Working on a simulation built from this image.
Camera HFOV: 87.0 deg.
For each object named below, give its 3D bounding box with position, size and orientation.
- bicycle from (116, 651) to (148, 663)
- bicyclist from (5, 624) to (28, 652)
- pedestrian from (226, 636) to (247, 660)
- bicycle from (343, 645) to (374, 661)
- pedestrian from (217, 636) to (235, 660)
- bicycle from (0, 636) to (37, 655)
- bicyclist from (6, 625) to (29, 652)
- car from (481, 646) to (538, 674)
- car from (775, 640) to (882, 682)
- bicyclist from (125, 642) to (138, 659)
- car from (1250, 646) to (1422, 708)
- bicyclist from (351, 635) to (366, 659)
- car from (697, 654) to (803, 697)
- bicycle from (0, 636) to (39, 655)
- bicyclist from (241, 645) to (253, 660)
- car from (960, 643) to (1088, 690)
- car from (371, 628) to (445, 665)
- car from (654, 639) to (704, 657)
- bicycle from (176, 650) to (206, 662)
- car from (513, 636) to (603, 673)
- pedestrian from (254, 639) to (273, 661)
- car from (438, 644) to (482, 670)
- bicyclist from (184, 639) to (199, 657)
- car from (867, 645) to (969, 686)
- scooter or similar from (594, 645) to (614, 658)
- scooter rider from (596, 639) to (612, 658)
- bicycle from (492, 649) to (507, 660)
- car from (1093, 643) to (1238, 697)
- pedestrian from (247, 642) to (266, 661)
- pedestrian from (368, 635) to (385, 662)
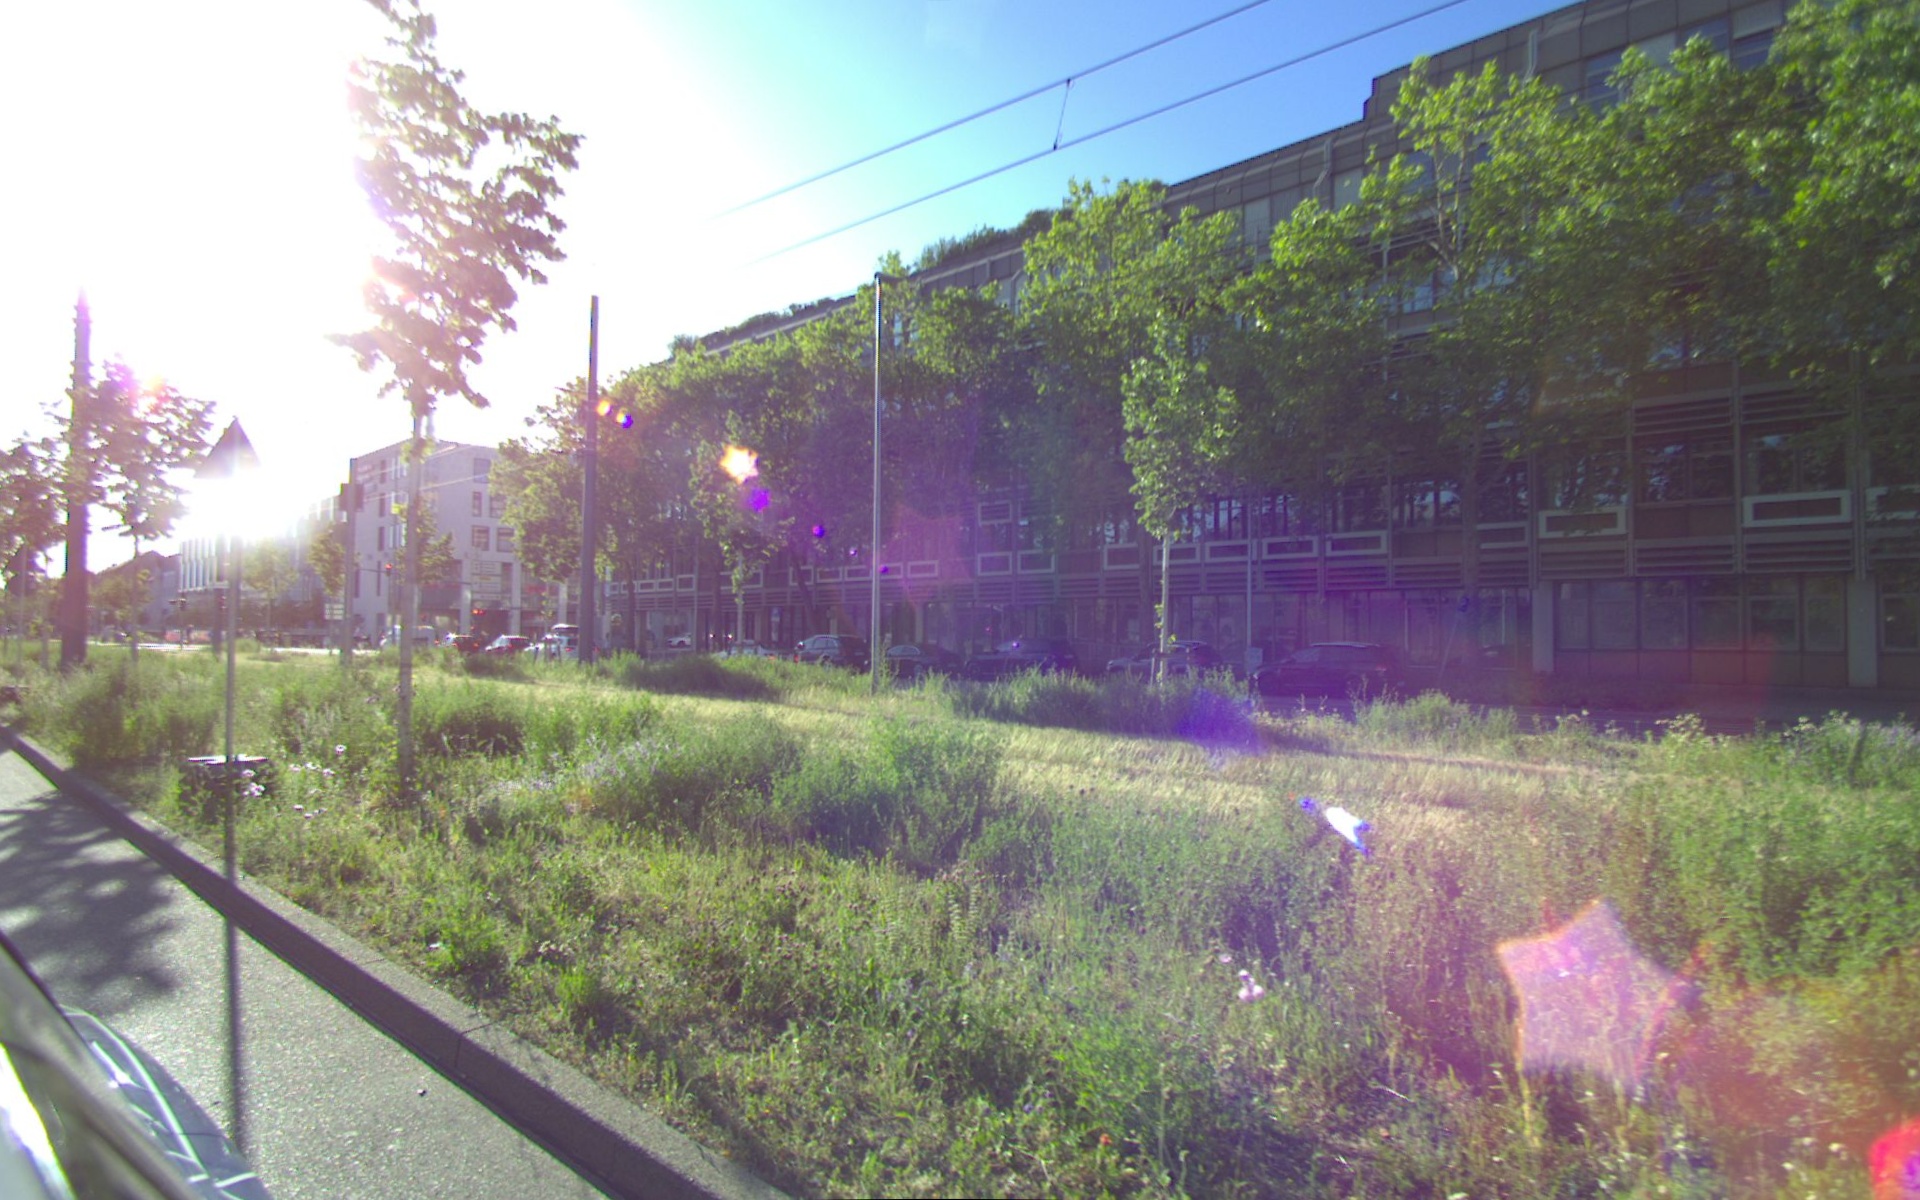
[{"bbox_3d":[-69.373,4.757,84.766,2.044,0.986,0.807,1,-2,-40],"label":"bicycle"},{"bbox_3d":[-55.707,2.245,59.777,0.625,1.587,0.883,-2,-3,39],"label":"bicyclist"},{"bbox_3d":[-64.633,4.278,90.434,1.055,2.145,1.091,0,-3,19],"label":"pedestrian"},{"bbox_3d":[-43.027,3.778,72.371,1.774,1.102,0.709,3,-4,-45],"label":"bicycle"},{"bbox_3d":[-66.219,4.326,91.333,0.889,2.140,0.943,0,-3,13],"label":"pedestrian"},{"bbox_3d":[-55.755,2.665,59.707,0.625,1.125,1.792,-2,-3,38],"label":"bicycle"},{"bbox_3d":[-55.170,2.247,59.234,0.651,1.554,0.836,-2,-3,39],"label":"bicyclist"},{"bbox_3d":[-25.278,3.354,56.770,1.691,1.464,3.578,6,-6,-44],"label":"car"},{"bbox_3d":[-5.871,2.642,44.876,4.865,1.693,1.973,-1,-2,40],"label":"car"},{"bbox_3d":[-69.415,4.225,84.766,0.830,1.412,0.807,1,-2,-39],"label":"bicyclist"},{"bbox_3d":[10.777,2.179,29.201,4.277,1.608,1.840,-2,-4,43],"label":"car"},{"bbox_3d":[-43.021,3.372,72.381,0.775,1.682,0.702,3,-4,-45],"label":"bicyclist"},{"bbox_3d":[-8.362,2.941,40.095,4.583,1.527,1.739,-2,-4,43],"label":"car"},{"bbox_3d":[-55.188,2.645,59.216,0.651,1.102,1.777,-2,-3,38],"label":"bicycle"},{"bbox_3d":[-65.922,4.872,93.572,0.827,1.367,0.808,1,-2,-31],"label":"bicyclist"},{"bbox_3d":[2.281,2.387,37.099,4.621,1.569,1.725,-2,-2,41],"label":"car"},{"bbox_3d":[-32.748,2.743,59.956,5.712,2.029,2.233,-2,-5,45],"label":"car"},{"bbox_3d":[-28.767,4.955,103.672,4.478,1.725,2.129,3,-2,-38],"label":"car"},{"bbox_3d":[-66.497,4.831,87.547,0.649,1.004,1.949,-2,-3,44],"label":"bicycle"},{"bbox_3d":[-18.055,2.405,45.350,4.691,1.606,1.820,-2,-3,42],"label":"car"},{"bbox_3d":[-64.249,4.589,93.358,0.909,2.029,1.018,0,-3,17],"label":"pedestrian"},{"bbox_3d":[-31.135,3.543,62.974,1.816,1.497,3.889,6,-6,-35],"label":"car"},{"bbox_3d":[-66.510,4.120,87.575,0.649,1.556,0.928,-2,-3,44],"label":"bicyclist"},{"bbox_3d":[-1.724,2.595,40.675,1.970,1.532,4.003,2,-3,-44],"label":"car"},{"bbox_3d":[-31.066,4.494,88.319,1.461,1.184,0.644,3,-2,-45],"label":"scooter or similar"},{"bbox_3d":[-31.069,4.232,88.329,1.100,1.556,0.644,3,-2,-45],"label":"scooter rider"},{"bbox_3d":[-46.694,5.497,102.576,0.648,1.121,2.413,2,-3,-41],"label":"bicycle"},{"bbox_3d":[6.696,2.267,33.325,4.364,1.645,1.888,-2,-5,45],"label":"car"},{"bbox_3d":[-63.445,4.651,91.234,0.994,1.663,0.948,0,-2,2],"label":"pedestrian"},{"bbox_3d":[-39.601,3.285,68.670,0.857,1.757,0.729,-2,-3,40],"label":"pedestrian"}]
